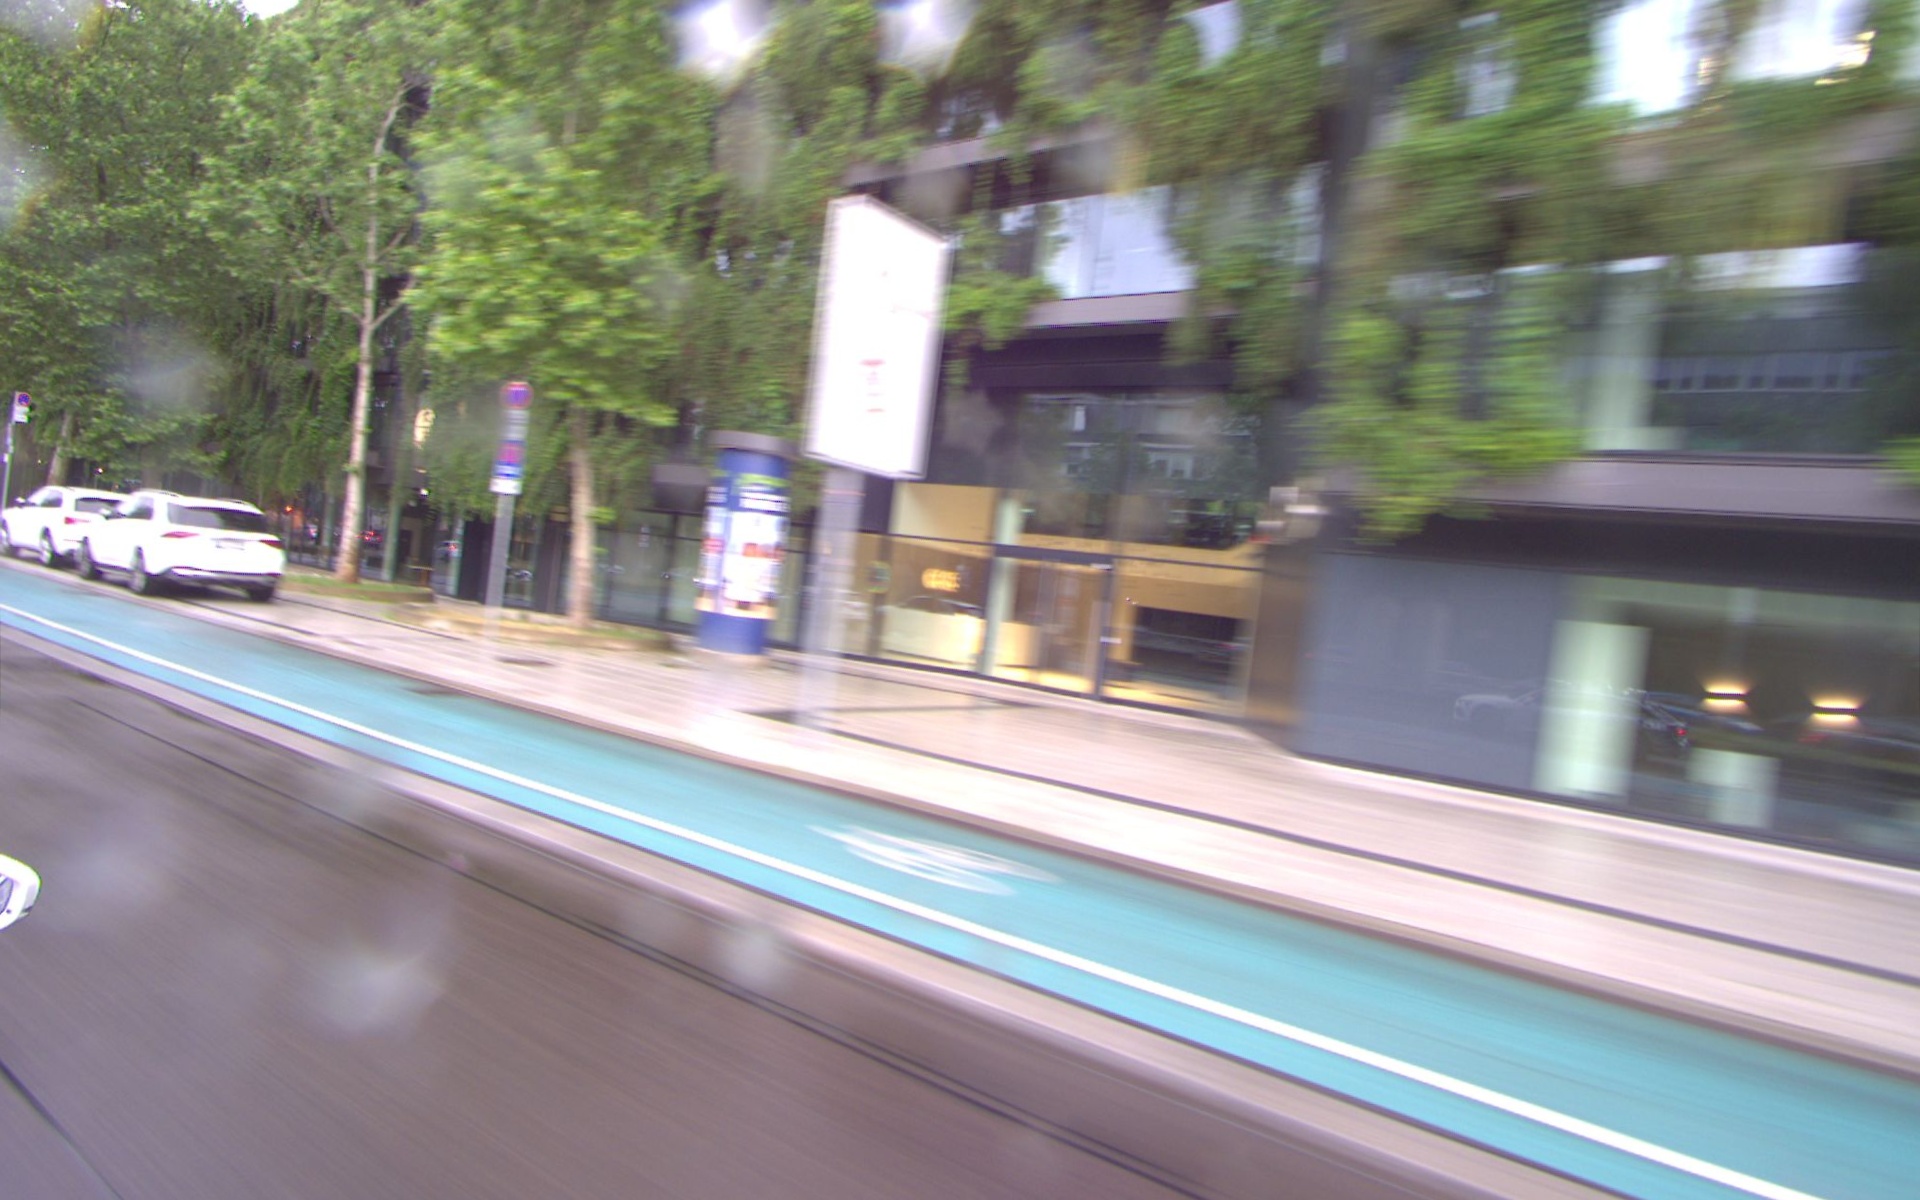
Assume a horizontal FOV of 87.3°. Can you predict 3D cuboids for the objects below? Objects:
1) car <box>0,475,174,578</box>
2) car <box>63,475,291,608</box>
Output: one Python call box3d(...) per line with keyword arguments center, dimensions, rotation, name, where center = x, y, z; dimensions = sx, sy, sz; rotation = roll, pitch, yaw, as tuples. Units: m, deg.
box3d(center=(-19.247, -1.642, 21.892), dimensions=(4.708, 1.652, 1.846), rotation=(8, -1, 33), name="car")
box3d(center=(-14.511, -1.124, 18.540), dimensions=(5.013, 1.861, 1.843), rotation=(8, 1, 35), name="car")
